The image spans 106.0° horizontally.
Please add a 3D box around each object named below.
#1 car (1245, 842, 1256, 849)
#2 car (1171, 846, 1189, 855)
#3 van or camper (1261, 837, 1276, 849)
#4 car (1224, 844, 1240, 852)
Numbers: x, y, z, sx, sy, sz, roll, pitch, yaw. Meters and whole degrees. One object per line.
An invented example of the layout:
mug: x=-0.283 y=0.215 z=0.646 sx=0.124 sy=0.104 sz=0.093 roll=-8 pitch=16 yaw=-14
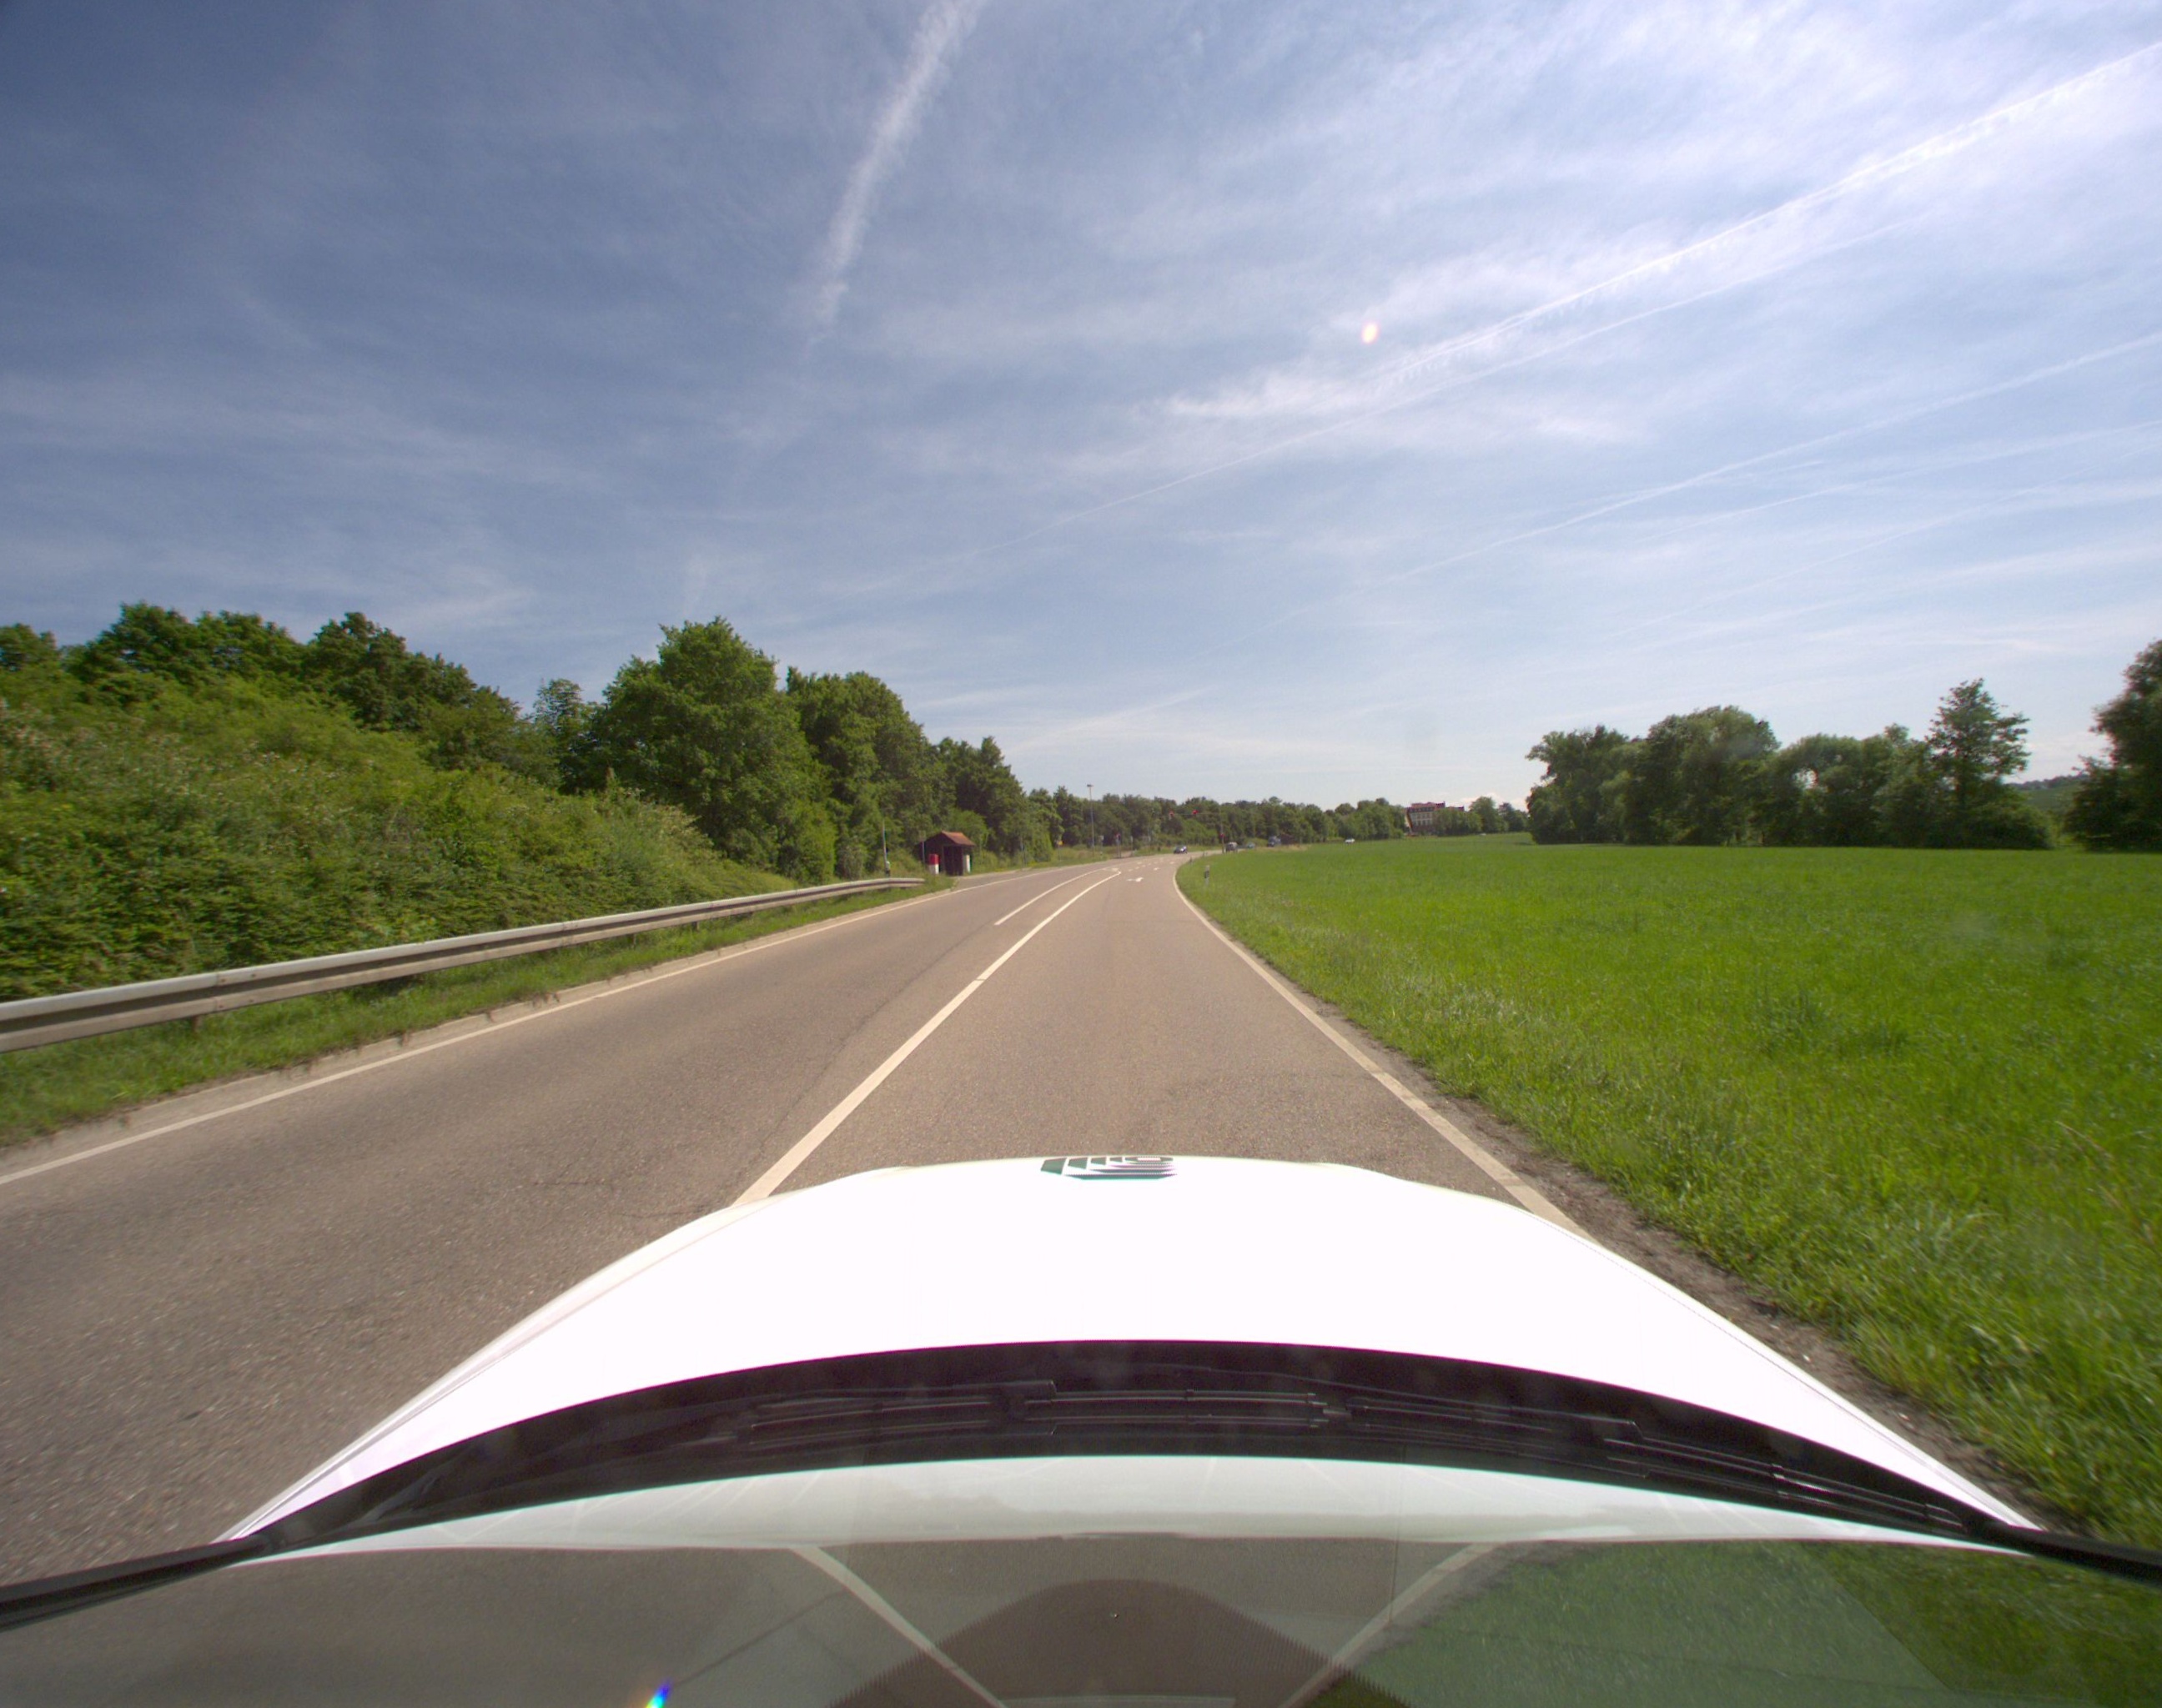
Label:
car: x=41.274 y=-2.048 z=198.301 sx=1.691 sy=1.483 sz=3.855 roll=-1 pitch=0 yaw=26
car: x=17.461 y=-0.685 z=143.758 sx=1.775 sy=1.474 sz=4.335 roll=-1 pitch=0 yaw=25
van or camper: x=50.087 y=-3.033 z=217.350 sx=2.219 sy=2.913 sz=7.290 roll=-2 pitch=2 yaw=25
car: x=28.371 y=-1.143 z=152.512 sx=1.975 sy=1.574 sz=4.023 roll=-1 pitch=0 yaw=25
